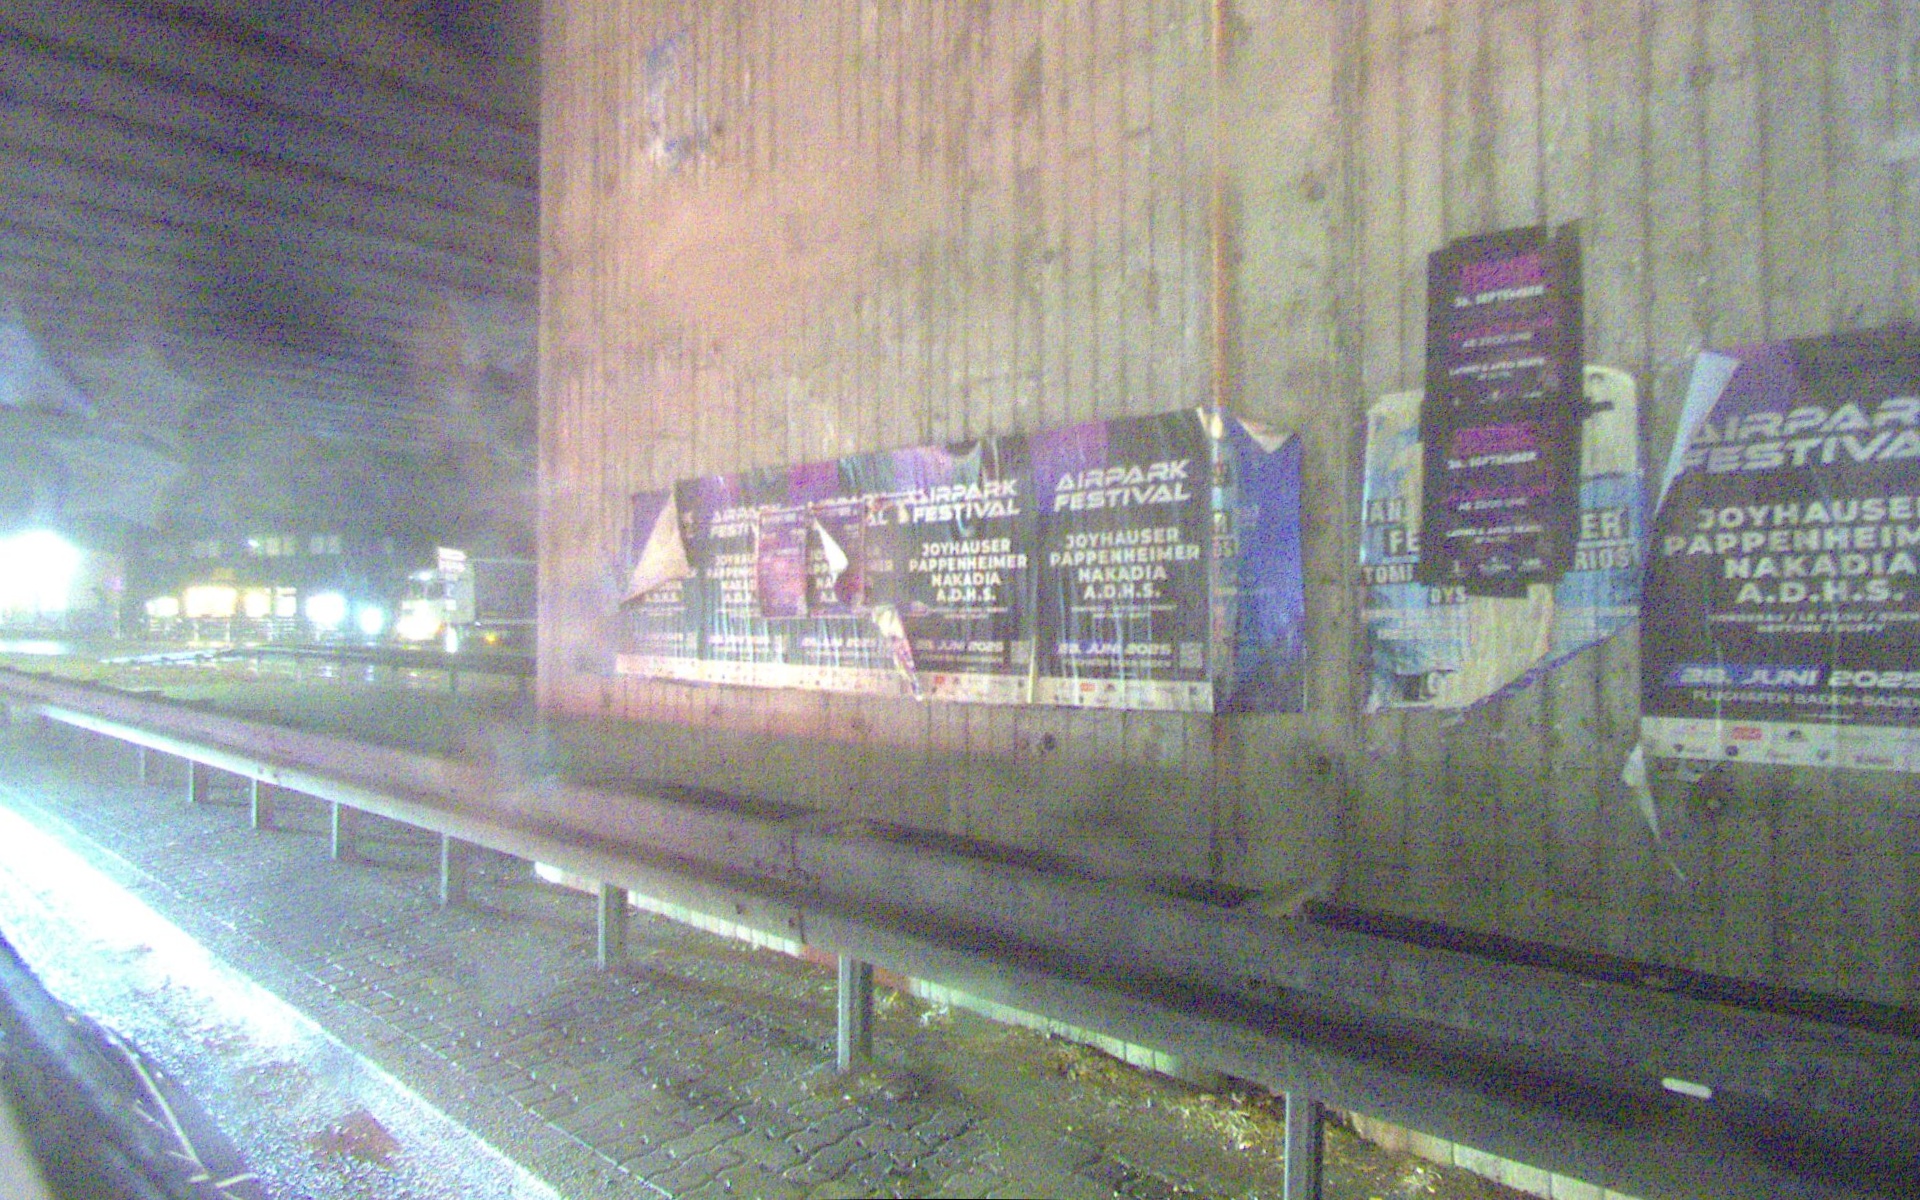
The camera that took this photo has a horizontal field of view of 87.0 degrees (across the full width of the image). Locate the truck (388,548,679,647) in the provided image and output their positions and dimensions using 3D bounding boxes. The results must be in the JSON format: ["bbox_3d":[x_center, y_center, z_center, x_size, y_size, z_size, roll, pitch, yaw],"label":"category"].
[{"bbox_3d":[-21.070,-0.076,51.190,13.480,4.474,2.746,0,-1,-43],"label":"truck"}]
